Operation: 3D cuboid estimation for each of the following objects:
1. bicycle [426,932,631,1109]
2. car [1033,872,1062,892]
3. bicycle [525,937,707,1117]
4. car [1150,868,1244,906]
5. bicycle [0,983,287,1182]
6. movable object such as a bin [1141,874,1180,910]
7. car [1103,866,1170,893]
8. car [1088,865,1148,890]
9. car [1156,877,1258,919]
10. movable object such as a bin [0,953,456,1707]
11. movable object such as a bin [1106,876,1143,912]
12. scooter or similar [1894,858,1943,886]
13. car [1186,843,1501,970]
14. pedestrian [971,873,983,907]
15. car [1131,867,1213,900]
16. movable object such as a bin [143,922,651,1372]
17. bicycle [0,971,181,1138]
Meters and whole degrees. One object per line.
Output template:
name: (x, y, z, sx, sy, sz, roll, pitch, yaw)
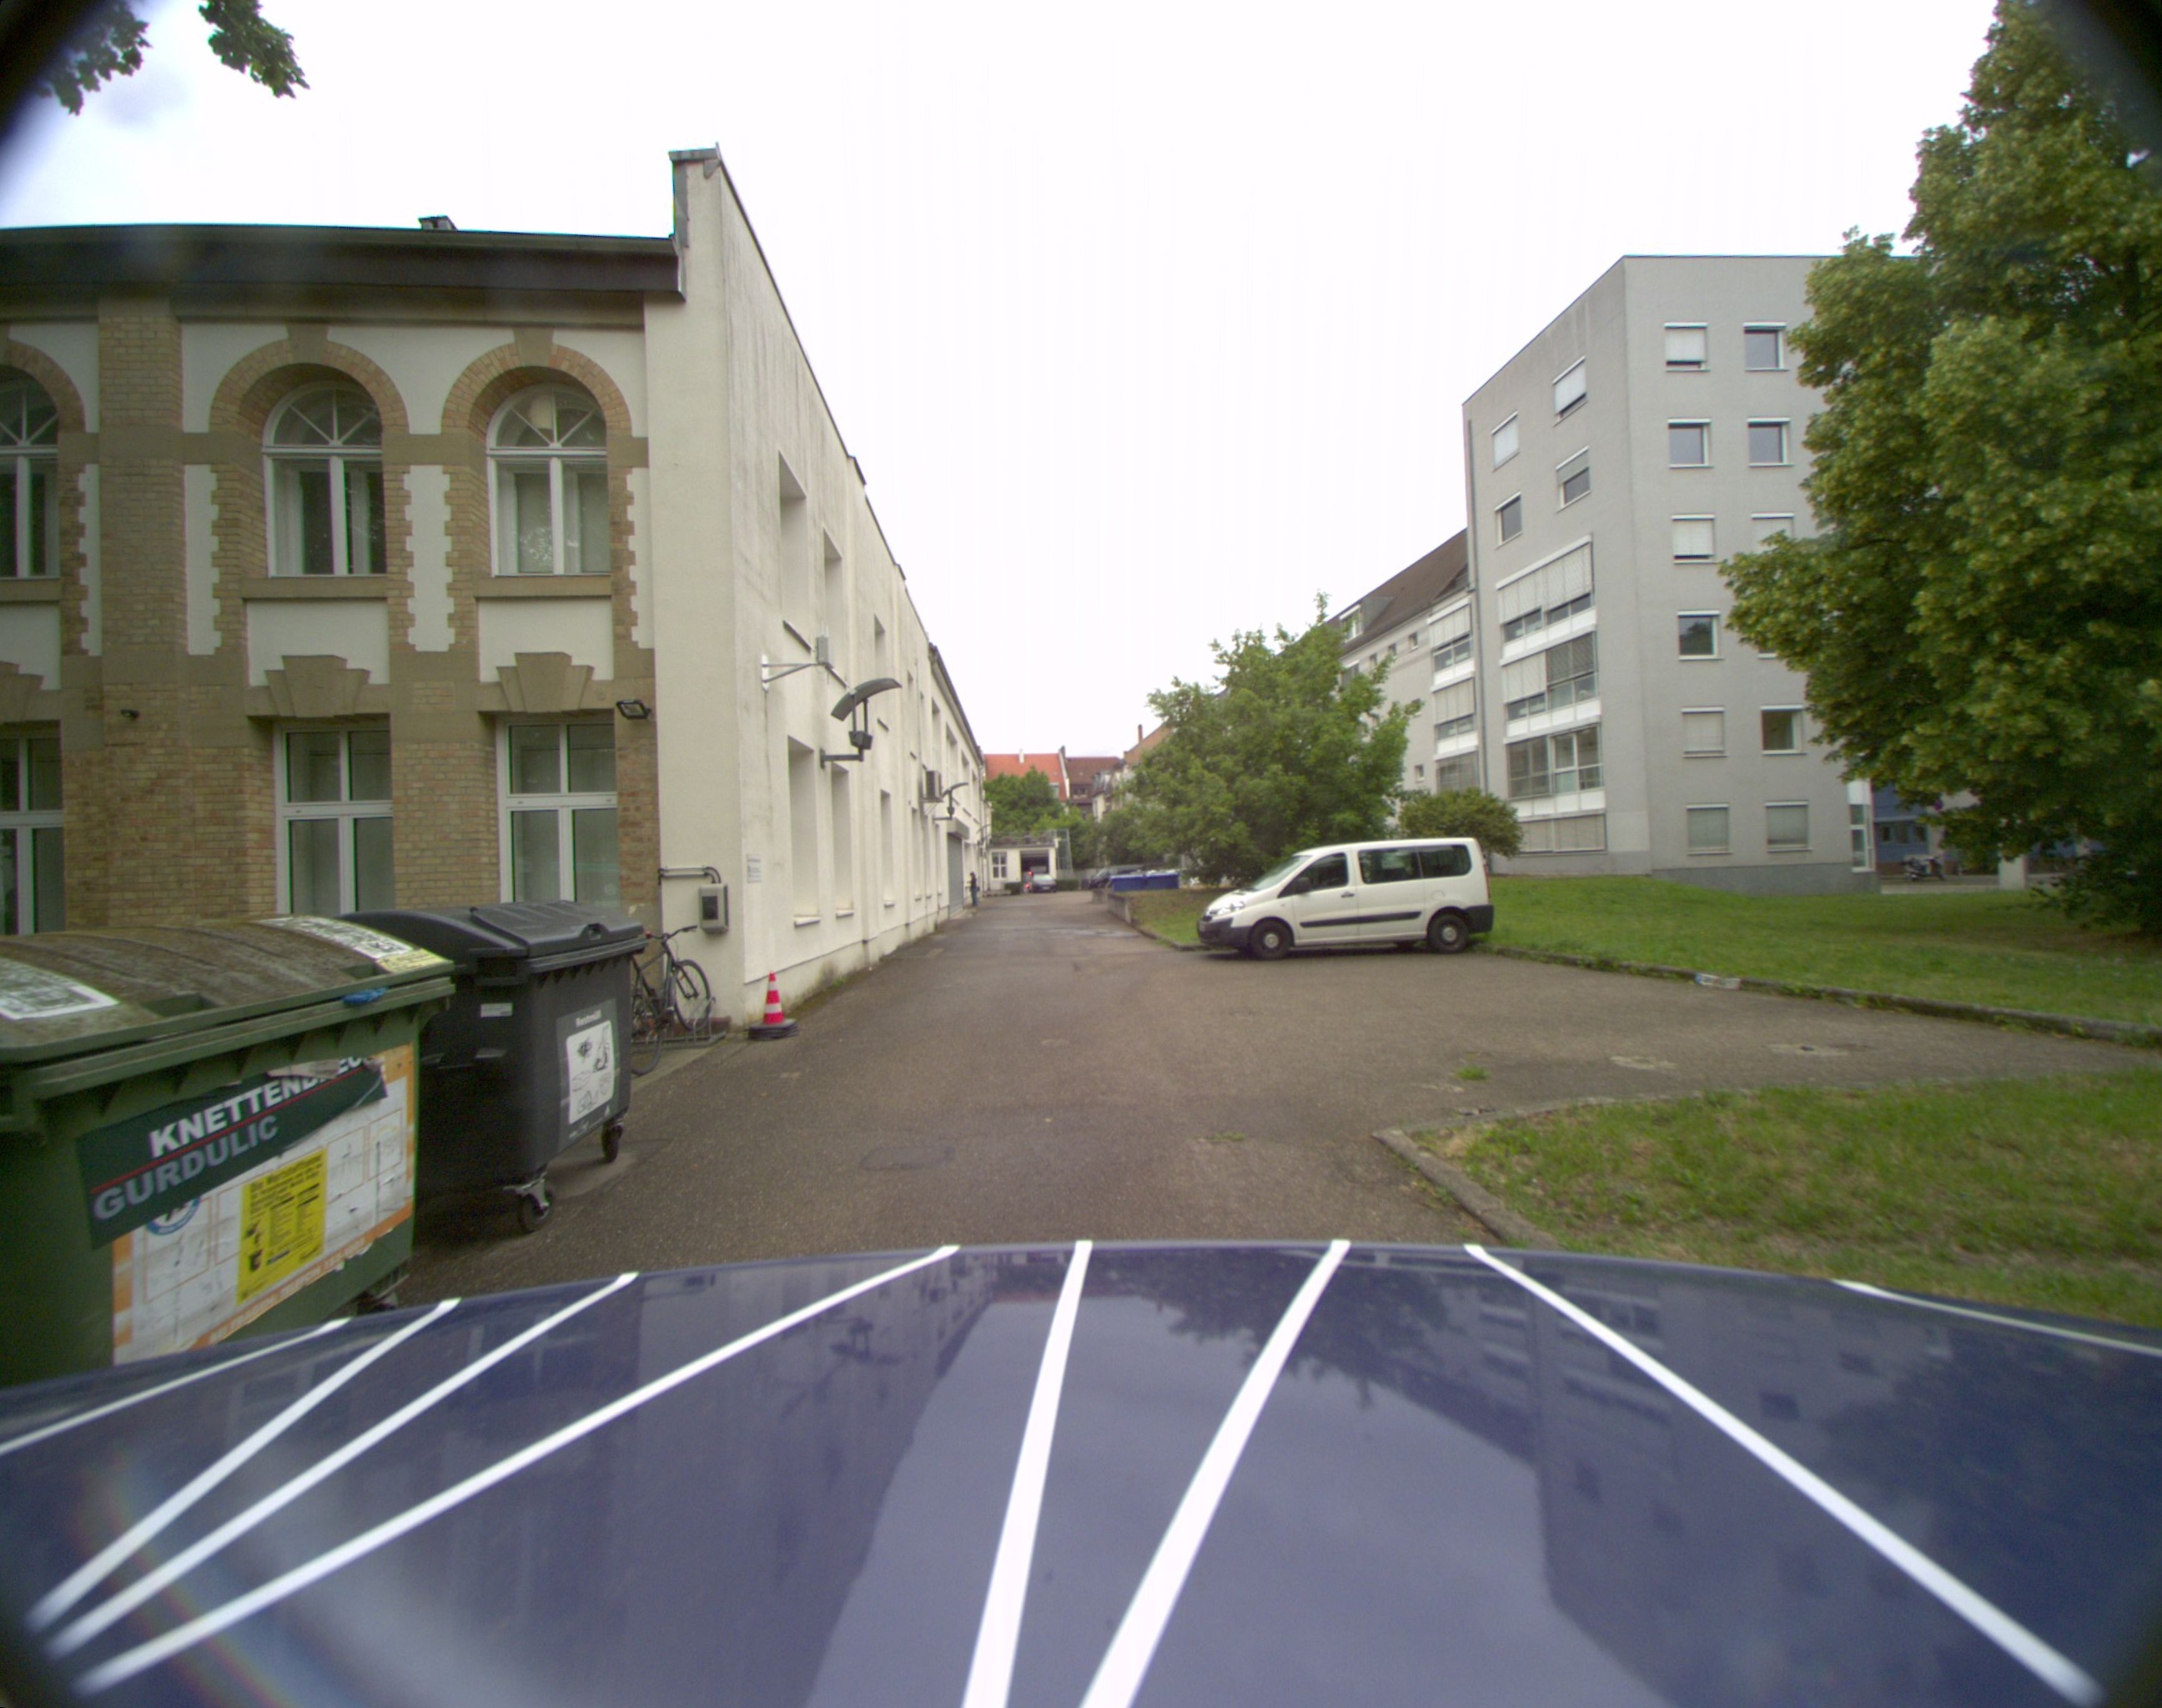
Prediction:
bicycle: (-4.525, 1.301, 6.389, 0.460, 1.108, 1.744, -2, -1, -2)
car: (-2.633, 2.147, 58.700, 1.920, 1.390, 3.998, -2, 0, -7)
bicycle: (-3.769, 1.337, 6.331, 0.460, 1.108, 1.744, -2, -1, -2)
car: (5.932, 1.669, 39.122, 4.341, 1.724, 1.998, -2, 0, -10)
bicycle: (-7.577, 1.742, 6.161, 0.460, 1.108, 1.744, -2, -1, -2)
movable object such as a bin: (3.001, 1.439, 28.815, 1.180, 1.299, 1.228, -2, -1, -5)
car: (3.911, 1.773, 53.774, 4.341, 1.724, 1.998, -2, 0, -10)
car: (2.860, 1.823, 59.107, 4.341, 1.724, 1.998, -2, 0, -10)
car: (5.950, 2.071, 36.119, 4.341, 1.724, 1.998, -2, 0, -10)
movable object such as a bin: (-2.607, 1.070, 1.862, 1.109, 1.441, 1.326, -2, 0, -10)
movable object such as a bin: (1.638, 1.488, 28.668, 1.180, 1.299, 1.228, -2, -1, -5)
scooter or similar: (38.958, 0.829, 35.335, 2.521, 1.181, 0.795, -2, 0, -25)
car: (4.415, 0.885, 13.301, 4.770, 1.861, 1.902, -2, -3, -2)
pedestrian: (-4.873, 1.676, 35.636, 0.499, 1.553, 0.429, -2, 0, -8)
car: (5.339, 1.702, 44.643, 4.341, 1.724, 1.998, -2, 0, -10)
movable object such as a bin: (-2.854, 1.105, 3.452, 1.109, 1.441, 1.362, -2, -1, -9)
bicycle: (-8.493, 1.625, 6.100, 0.460, 1.108, 1.744, -2, -1, -2)
